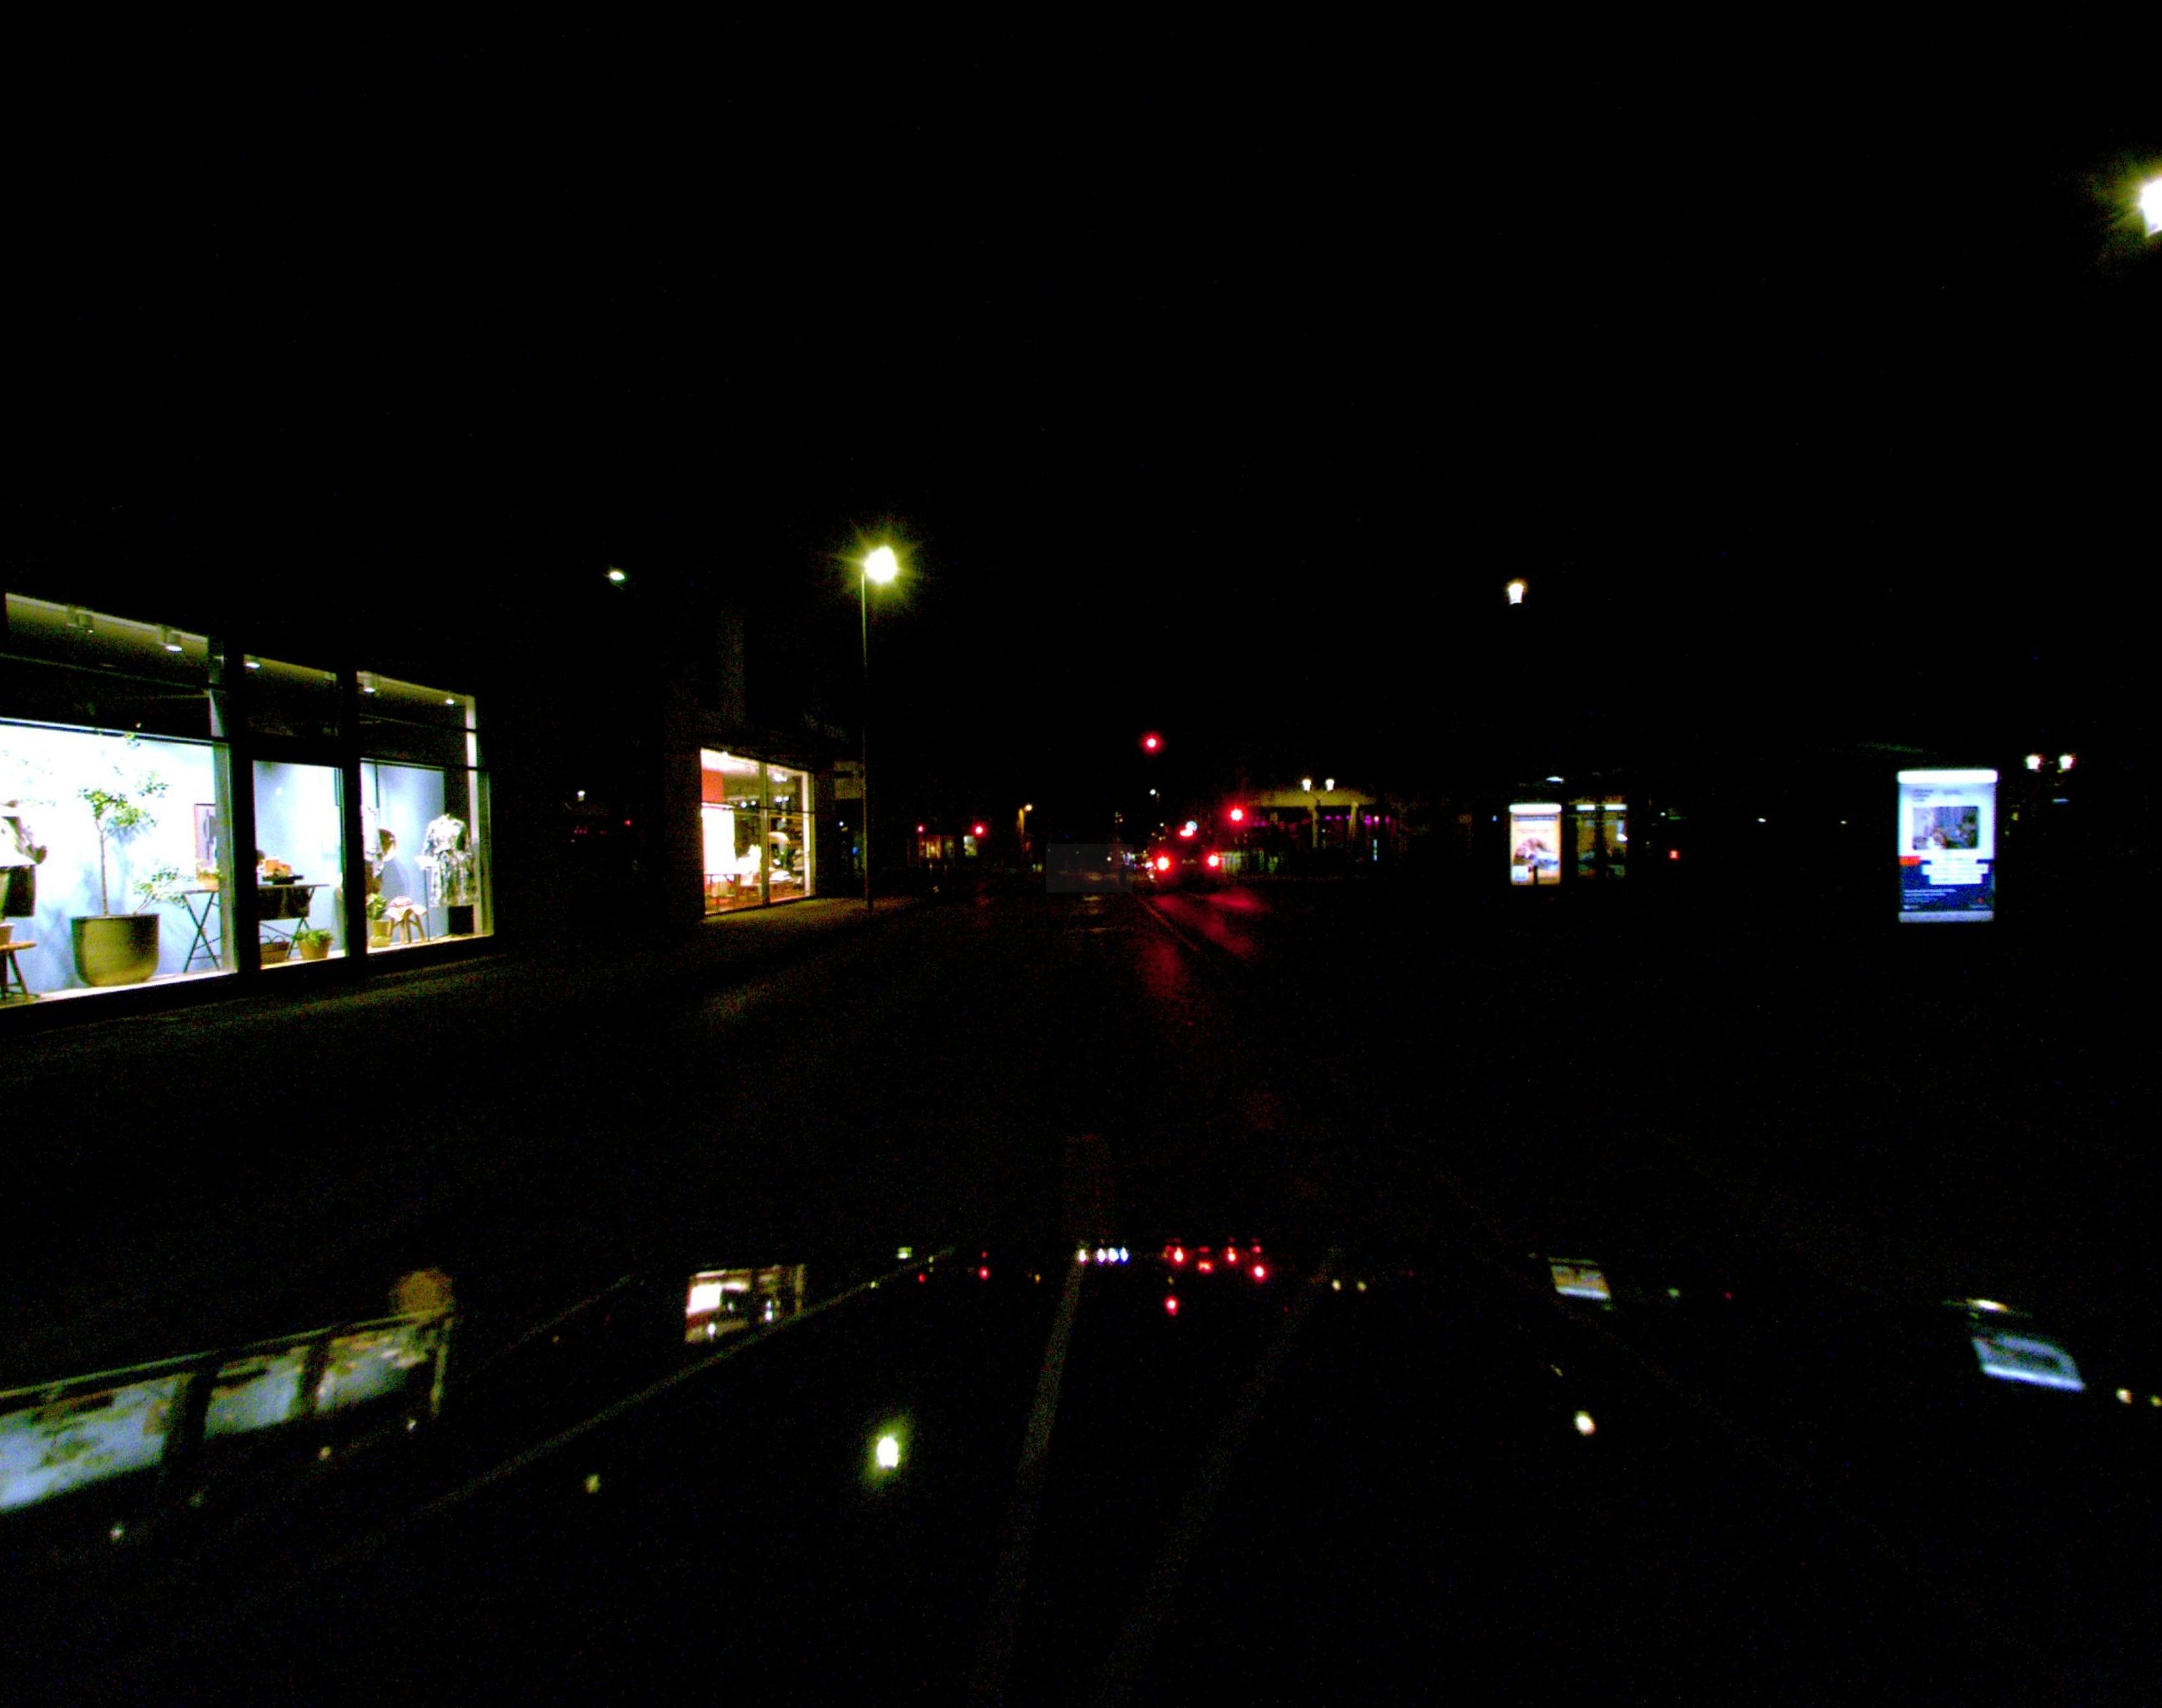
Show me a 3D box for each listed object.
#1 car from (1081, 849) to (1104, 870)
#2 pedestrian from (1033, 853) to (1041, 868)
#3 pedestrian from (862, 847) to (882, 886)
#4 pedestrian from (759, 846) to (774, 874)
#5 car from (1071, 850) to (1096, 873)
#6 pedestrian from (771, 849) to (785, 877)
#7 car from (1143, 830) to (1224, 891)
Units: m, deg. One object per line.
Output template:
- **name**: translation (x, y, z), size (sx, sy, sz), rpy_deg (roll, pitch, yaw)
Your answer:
- **car**: translation (1.006, 0.432, 67.163), size (1.879, 1.718, 3.999), rpy_deg (-2, 1, 1)
- **pedestrian**: translation (-4.326, 0.645, 74.745), size (0.647, 1.487, 0.830), rpy_deg (0, 1, 2)
- **pedestrian**: translation (-9.313, 0.557, 33.865), size (0.539, 1.672, 0.648), rpy_deg (-2, 1, 23)
- **pedestrian**: translation (-19.540, 0.389, 47.237), size (0.567, 1.707, 0.567), rpy_deg (-2, 1, 7)
- **car**: translation (0.264, 0.600, 60.232), size (1.713, 1.660, 3.738), rpy_deg (-2, 1, 3)
- **pedestrian**: translation (-18.865, 0.550, 47.289), size (0.524, 1.707, 0.567), rpy_deg (-2, 1, 6)
- **car**: translation (3.373, 0.172, 25.943), size (1.972, 1.861, 4.910), rpy_deg (-1, 1, -1)
